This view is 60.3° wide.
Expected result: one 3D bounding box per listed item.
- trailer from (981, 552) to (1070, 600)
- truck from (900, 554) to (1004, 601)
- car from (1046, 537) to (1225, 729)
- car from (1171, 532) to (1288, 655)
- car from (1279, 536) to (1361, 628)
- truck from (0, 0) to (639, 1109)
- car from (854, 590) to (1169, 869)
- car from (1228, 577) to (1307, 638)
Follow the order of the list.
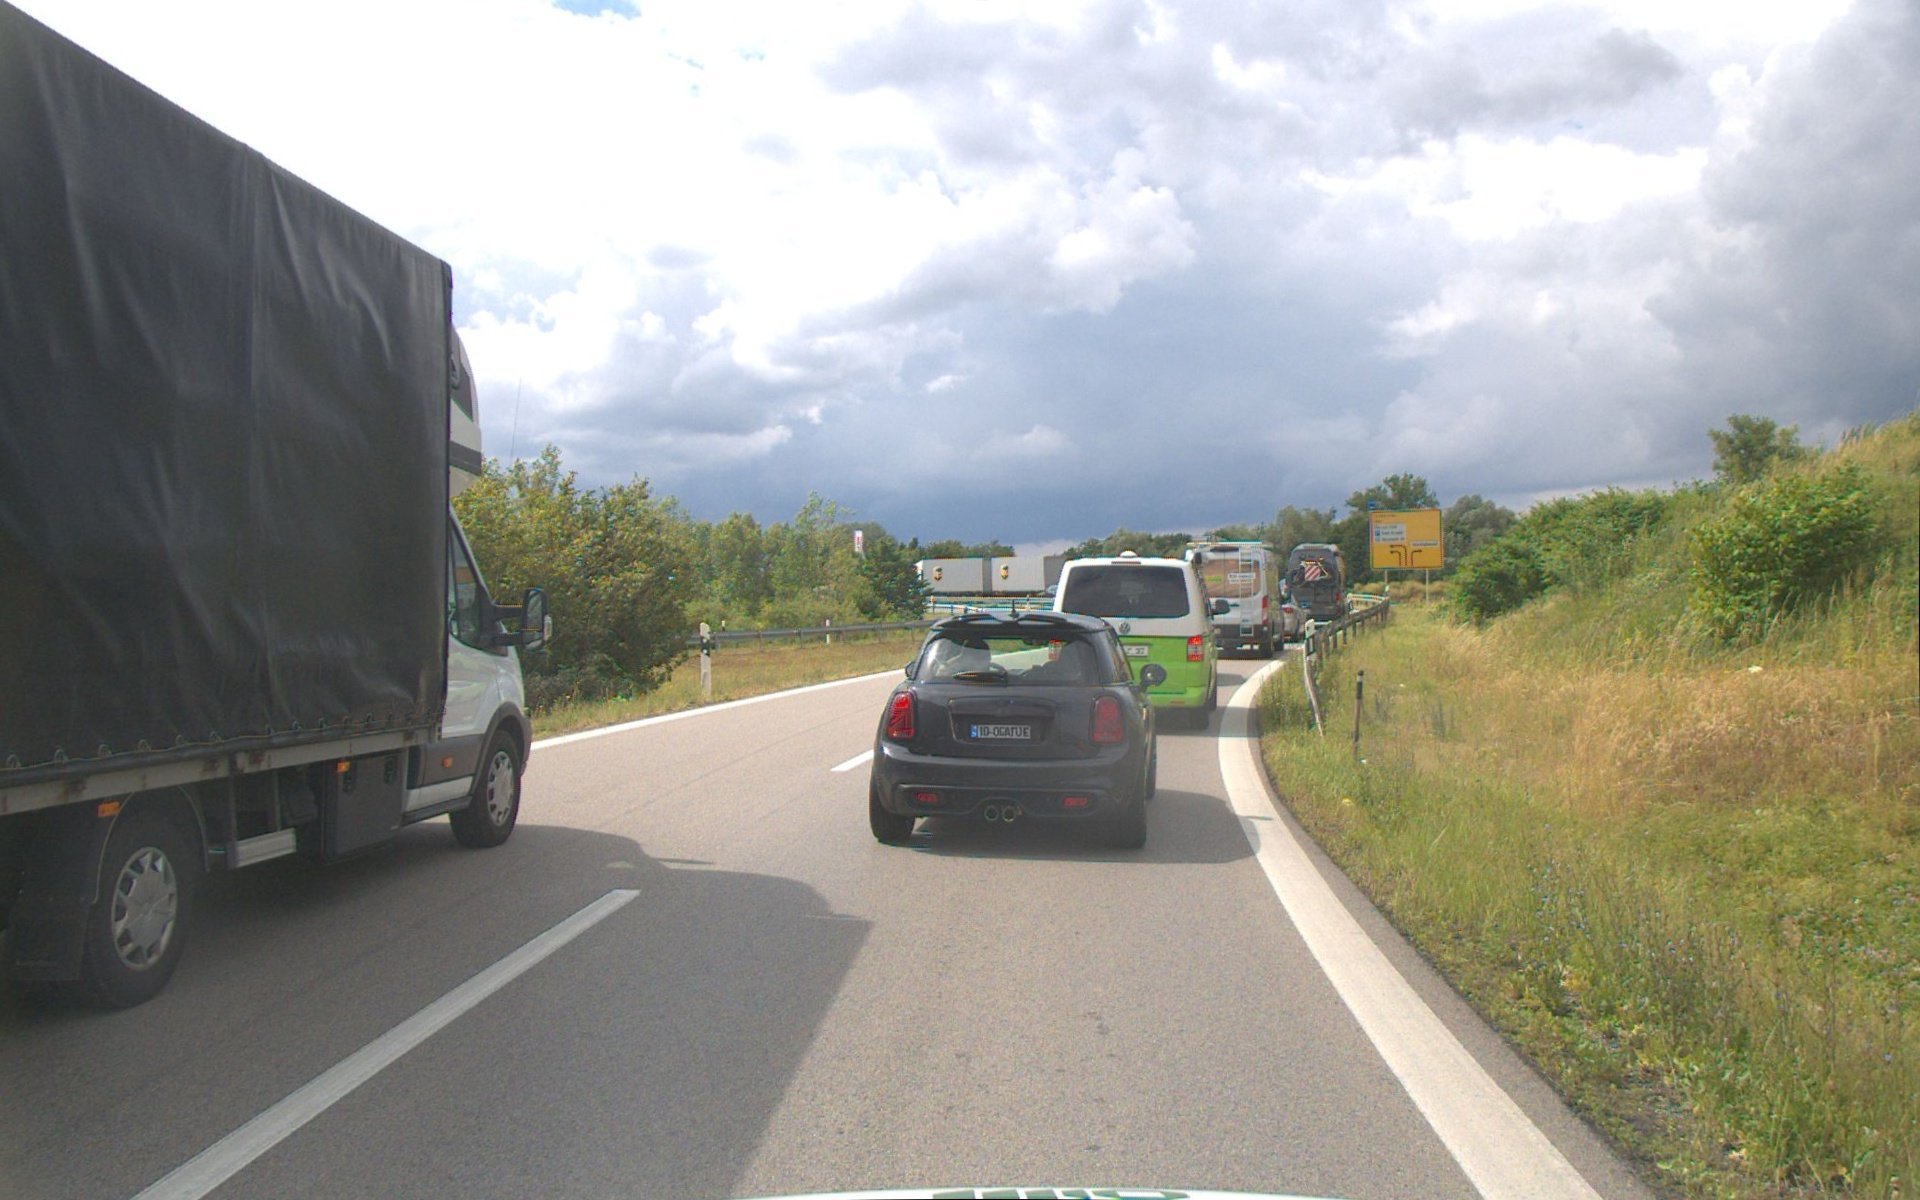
[{"bbox_3d":[5.524,-1.989,141.675,3.010,3.966,8.665,1,-1,-35],"label":"trailer"},{"bbox_3d":[-0.772,-2.033,148.383,9.847,4.046,2.829,1,-1,41],"label":"truck"},{"bbox_3d":[2.247,0.361,20.184,1.870,2.081,4.184,0,0,10],"label":"car"},{"bbox_3d":[6.421,-0.123,38.837,2.165,2.668,5.538,1,-1,15],"label":"car"},{"bbox_3d":[13.026,-0.577,59.525,2.262,3.122,6.665,1,-1,18],"label":"car"},{"bbox_3d":[-3.722,-0.173,7.457,2.506,3.223,7.472,1,0,4],"label":"truck"},{"bbox_3d":[0.522,0.732,11.389,1.761,1.573,3.741,0,0,8],"label":"car"},{"bbox_3d":[8.885,0.222,47.547,1.951,1.671,3.931,1,0,15],"label":"car"}]
